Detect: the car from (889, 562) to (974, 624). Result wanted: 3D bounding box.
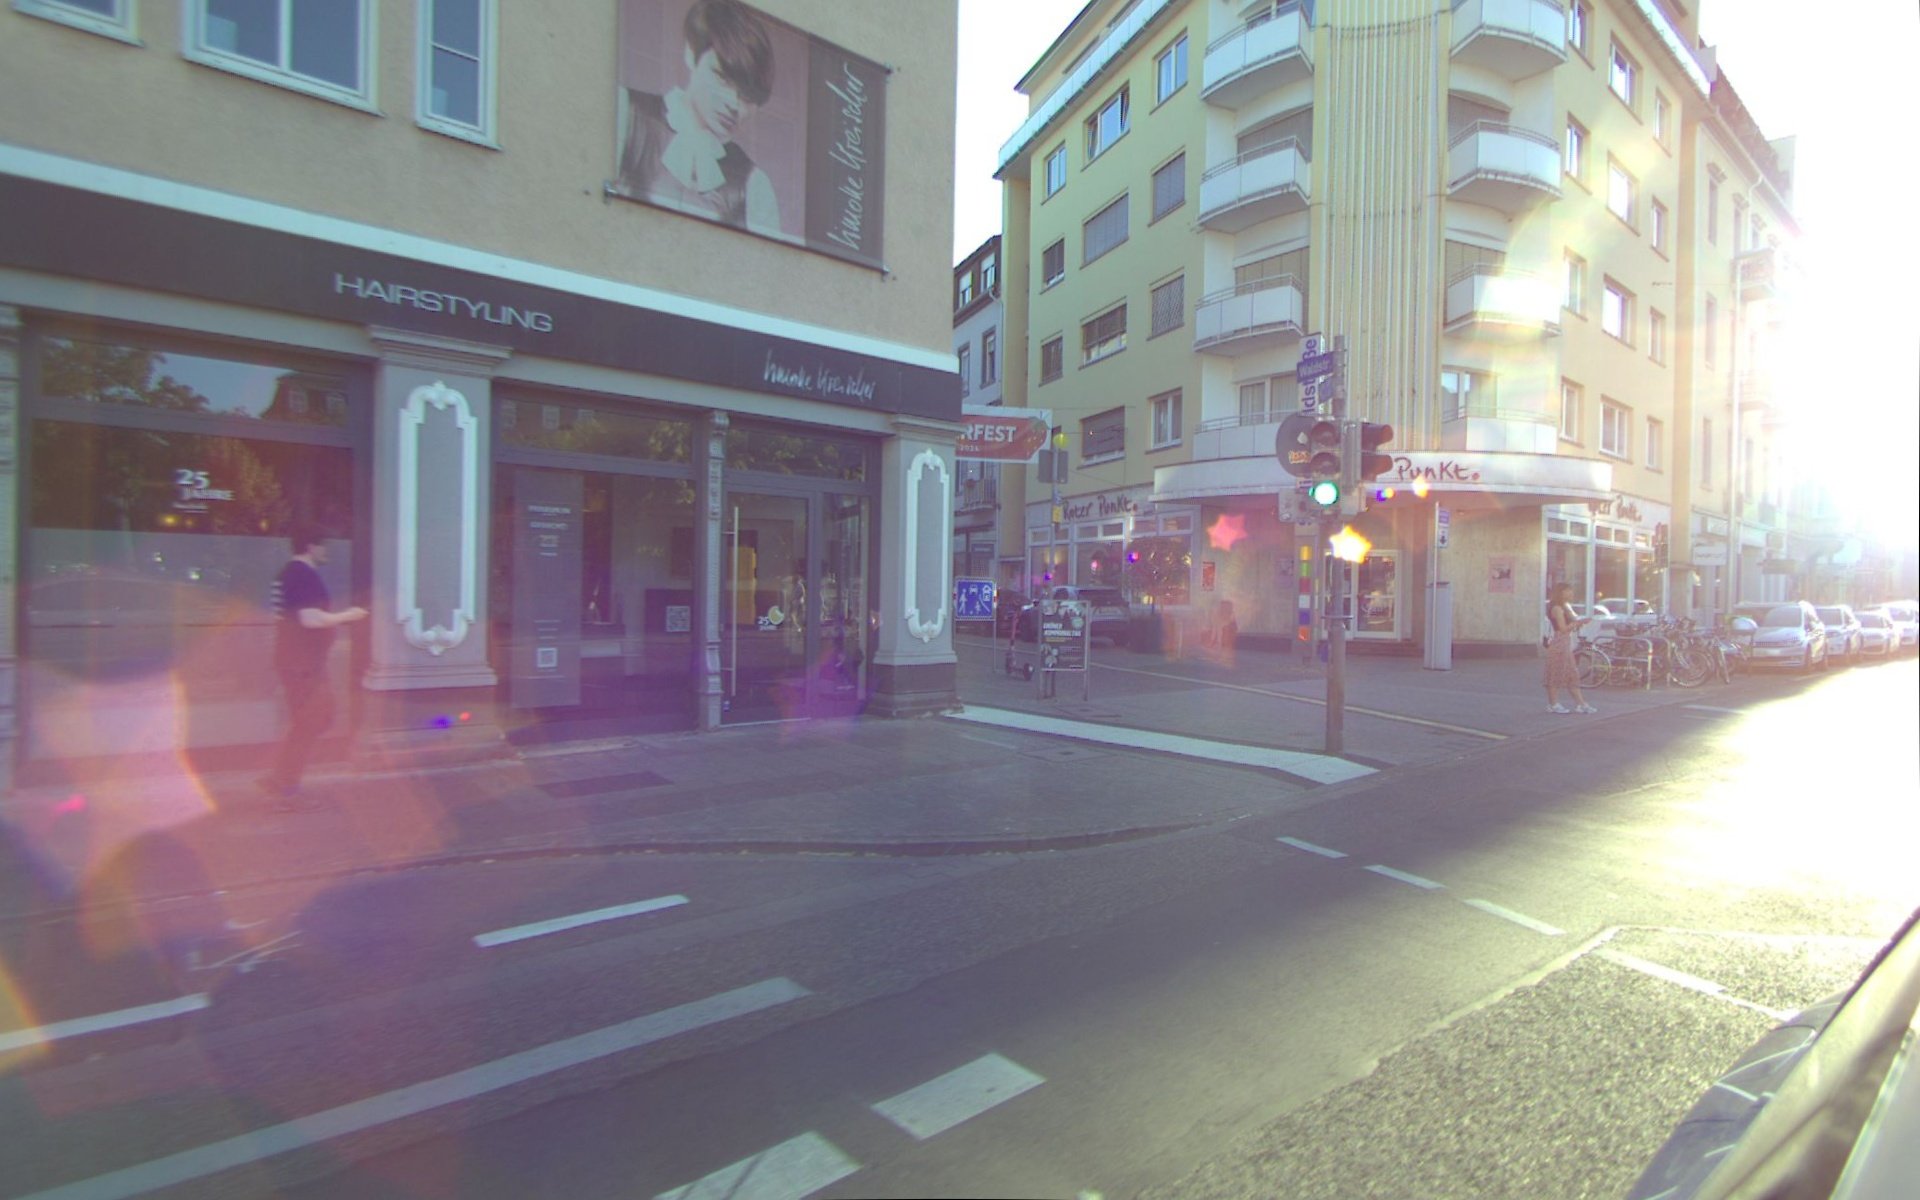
[{"bbox_3d":[-1.138,-0.271,37.650,1.958,2.172,4.009,1,1,-20],"label":"car"}]

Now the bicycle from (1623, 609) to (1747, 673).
[{"bbox_3d":[14.310,0.787,20.022,0.583,1.126,1.886,1,1,-44],"label":"bicycle"}]

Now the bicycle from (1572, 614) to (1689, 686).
[{"bbox_3d":[10.971,0.799,16.591,0.504,1.039,1.501,1,2,-45],"label":"bicycle"}]

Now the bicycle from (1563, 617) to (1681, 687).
[{"bbox_3d":[10.617,0.815,16.266,0.504,1.028,1.501,1,0,-43],"label":"bicycle"}]

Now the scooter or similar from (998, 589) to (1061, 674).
[{"bbox_3d":[1.083,0.473,16.048,0.513,1.280,1.324,0,0,-19],"label":"scooter or similar"}]

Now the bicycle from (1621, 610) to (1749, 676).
[{"bbox_3d":[13.656,0.785,19.106,0.583,1.126,1.886,-2,2,-44],"label":"bicycle"}]

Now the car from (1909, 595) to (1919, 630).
[{"bbox_3d":[47.158,0.655,48.727,3.929,1.605,1.703,2,0,-41],"label":"car"}]

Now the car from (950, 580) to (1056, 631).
[{"bbox_3d":[1.276,0.146,31.794,1.908,1.475,4.009,1,1,-20],"label":"car"}]

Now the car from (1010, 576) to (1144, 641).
[{"bbox_3d":[3.004,0.167,26.824,1.887,1.589,4.009,1,1,-20],"label":"car"}]

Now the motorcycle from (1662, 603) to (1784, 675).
[{"bbox_3d":[15.212,0.746,20.219,0.704,1.278,1.814,1,2,-43],"label":"motorcycle"}]

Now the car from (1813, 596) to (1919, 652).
[{"bbox_3d":[28.112,0.739,31.215,4.783,1.563,2.019,2,0,-41],"label":"car"}]

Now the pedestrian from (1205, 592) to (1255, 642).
[{"bbox_3d":[6.688,0.400,25.023,0.727,1.188,1.164,1,1,42],"label":"pedestrian"}]

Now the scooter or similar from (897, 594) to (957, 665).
[{"bbox_3d":[-0.596,0.494,17.668,0.499,1.179,1.323,0,0,-29],"label":"scooter or similar"}]

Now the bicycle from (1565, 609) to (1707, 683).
[{"bbox_3d":[11.359,0.740,17.049,0.749,1.126,1.885,1,1,-44],"label":"bicycle"}]

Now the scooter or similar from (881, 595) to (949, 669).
[{"bbox_3d":[-0.767,0.511,16.873,0.514,1.179,1.321,0,0,-34],"label":"scooter or similar"}]

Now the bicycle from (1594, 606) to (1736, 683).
[{"bbox_3d":[12.100,0.734,17.405,0.711,1.182,1.886,1,1,-44],"label":"bicycle"}]

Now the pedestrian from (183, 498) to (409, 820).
[{"bbox_3d":[-4.125,0.325,6.305,0.757,1.799,1.032,1,0,44],"label":"pedestrian"}]

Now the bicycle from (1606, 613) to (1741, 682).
[{"bbox_3d":[12.731,0.816,18.107,0.592,1.126,1.886,1,1,-43],"label":"bicycle"}]

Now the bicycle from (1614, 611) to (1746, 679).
[{"bbox_3d":[13.114,0.799,18.477,0.512,1.126,1.886,1,1,-44],"label":"bicycle"}]

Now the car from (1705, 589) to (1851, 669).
[{"bbox_3d":[19.212,0.602,23.686,4.722,1.633,1.996,0,1,-43],"label":"car"}]

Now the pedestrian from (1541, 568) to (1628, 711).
[{"bbox_3d":[7.925,0.472,12.841,0.794,1.742,0.799,1,0,42],"label":"pedestrian"}]

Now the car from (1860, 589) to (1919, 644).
[{"bbox_3d":[32.553,0.603,34.765,4.578,1.767,1.885,2,0,-42],"label":"car"}]

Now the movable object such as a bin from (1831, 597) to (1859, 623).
[{"bbox_3d":[43.014,0.467,49.183,1.374,1.201,0.868,0,1,-42],"label":"movable object such as a bin"}]

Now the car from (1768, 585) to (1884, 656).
[{"bbox_3d":[23.929,0.563,27.910,4.331,1.784,1.871,2,0,-42],"label":"car"}]
